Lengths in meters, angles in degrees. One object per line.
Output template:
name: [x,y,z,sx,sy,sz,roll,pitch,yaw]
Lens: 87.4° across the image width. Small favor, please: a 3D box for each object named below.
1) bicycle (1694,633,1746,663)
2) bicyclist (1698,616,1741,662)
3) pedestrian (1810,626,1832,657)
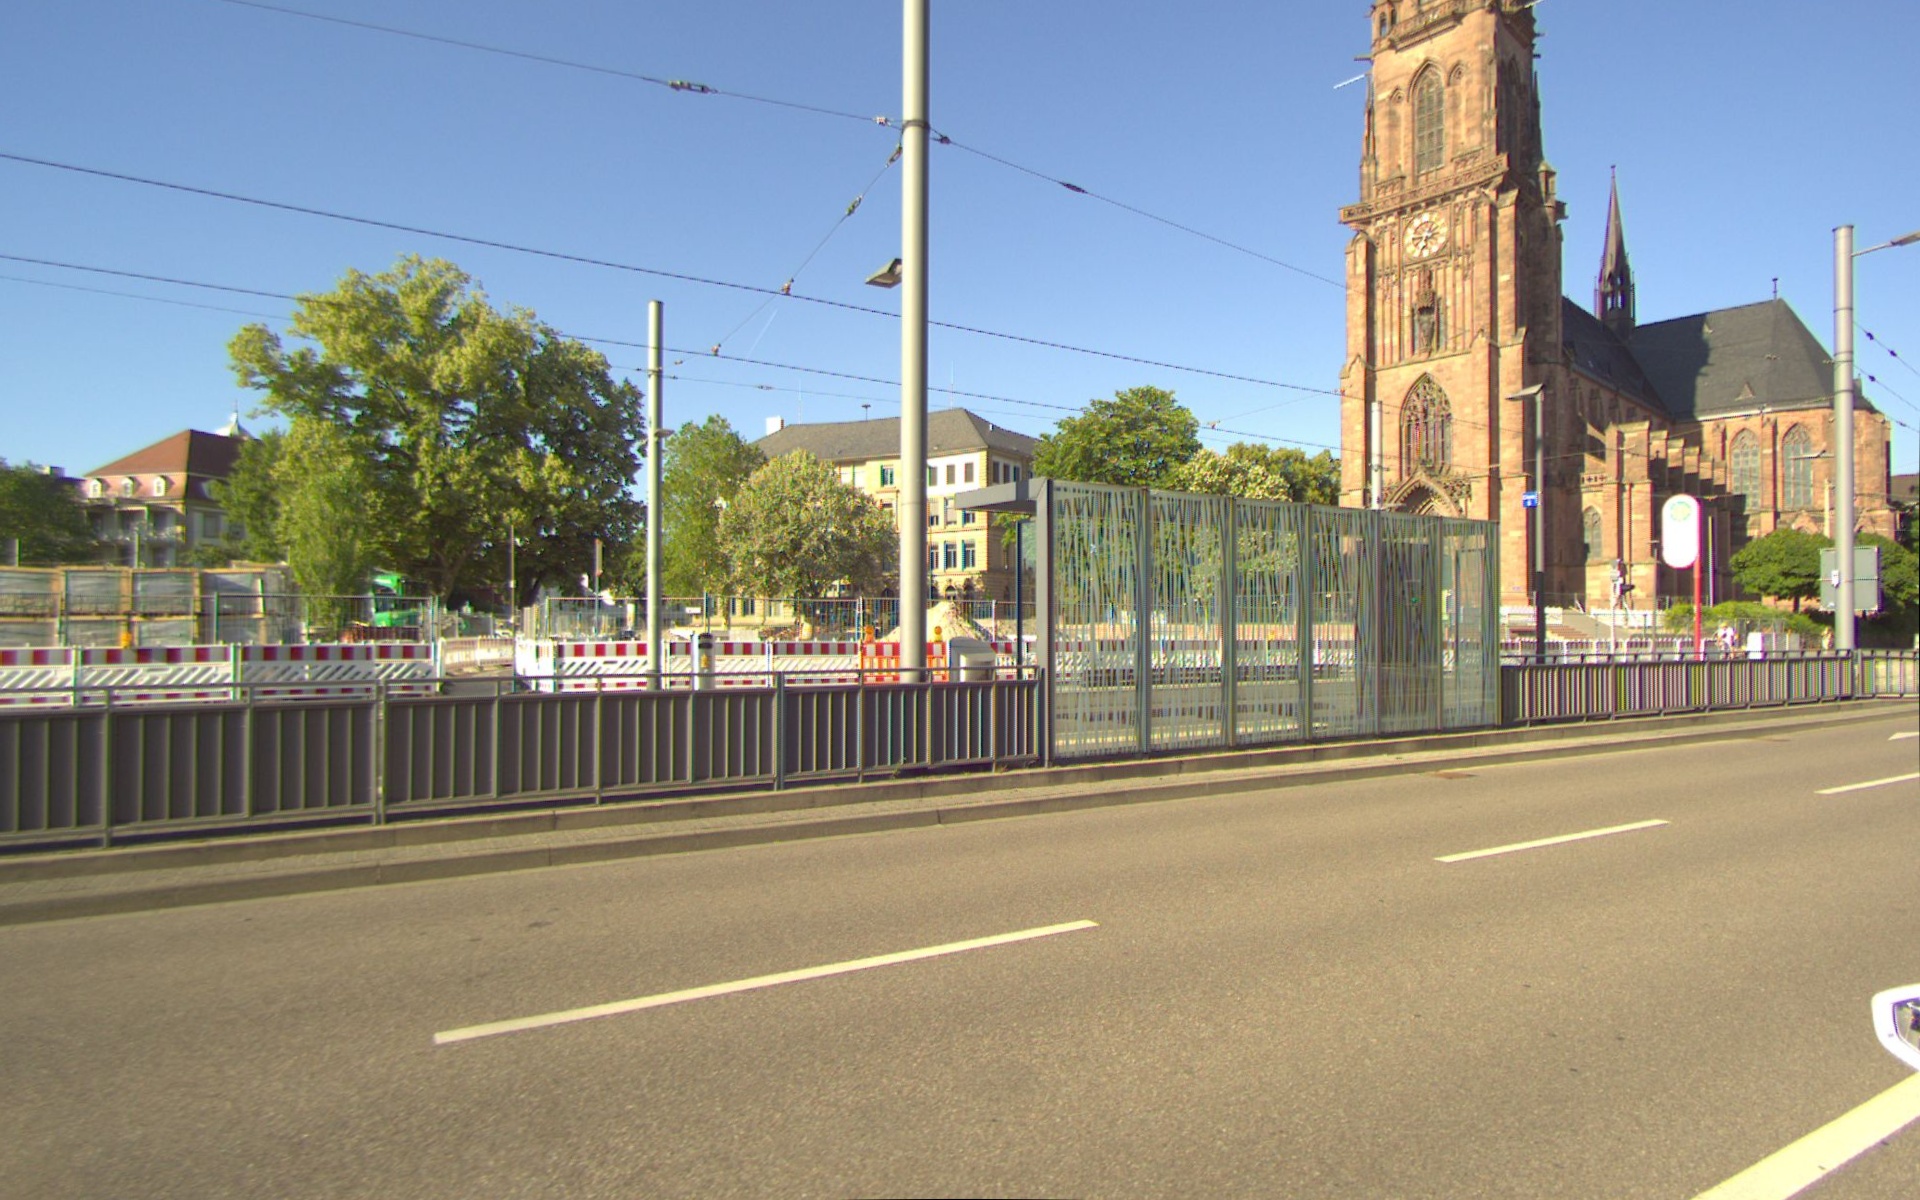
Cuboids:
bicycle: [31.652,1.997,41.829,2.798,1.110,0.956,-1,-5,-38]
bicyclist: [31.647,1.623,41.865,1.307,1.831,0.956,-1,-6,-37]
pedestrian: [51.648,2.505,60.246,0.854,1.797,0.724,-2,-1,-33]
